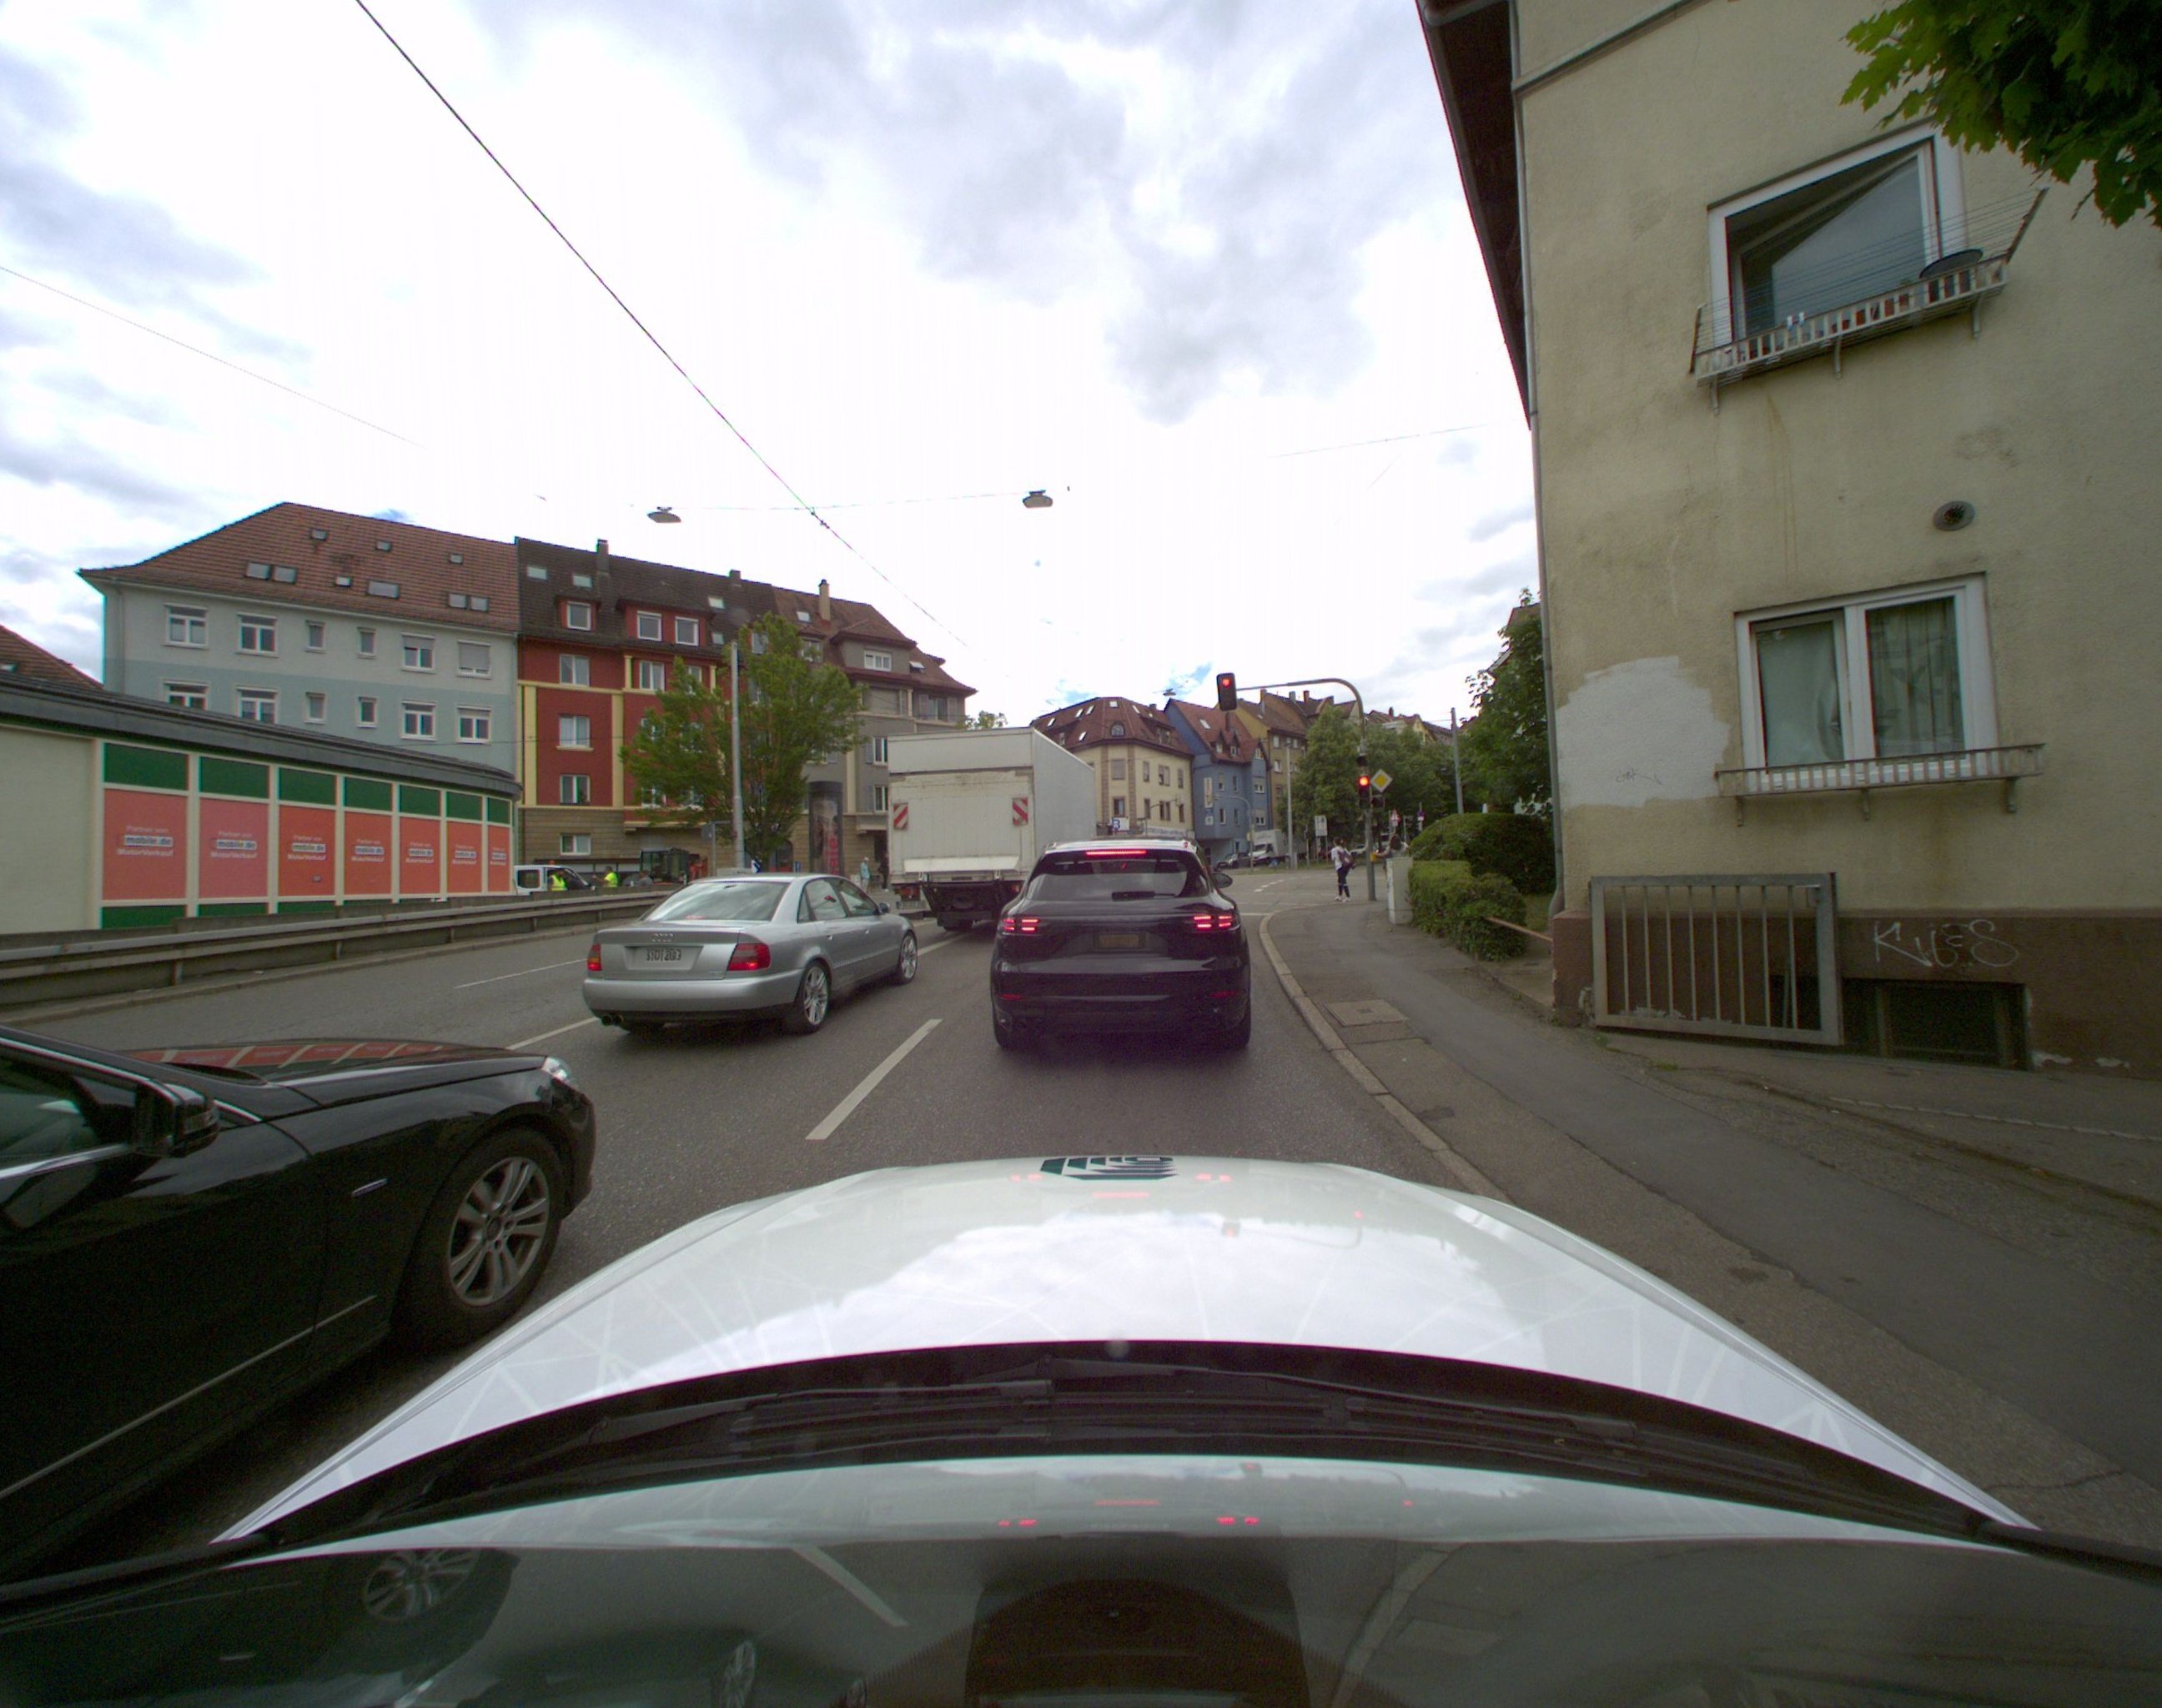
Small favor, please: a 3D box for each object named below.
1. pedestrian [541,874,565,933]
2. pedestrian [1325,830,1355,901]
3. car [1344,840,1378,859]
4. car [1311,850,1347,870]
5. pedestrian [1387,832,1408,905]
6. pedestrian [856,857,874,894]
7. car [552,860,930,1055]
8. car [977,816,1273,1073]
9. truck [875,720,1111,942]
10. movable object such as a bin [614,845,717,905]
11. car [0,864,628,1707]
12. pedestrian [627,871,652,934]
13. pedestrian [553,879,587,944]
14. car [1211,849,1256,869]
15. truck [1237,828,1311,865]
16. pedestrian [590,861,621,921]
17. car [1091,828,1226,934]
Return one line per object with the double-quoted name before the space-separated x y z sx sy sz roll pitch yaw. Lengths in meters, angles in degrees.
"pedestrian" -15.609 1.449 24.076 0.479 1.730 0.536 1 -1 -44
"pedestrian" 6.747 0.301 21.202 0.588 1.819 0.528 1 -1 -4
"car" 31.161 -0.472 90.641 1.975 2.014 4.023 0 -1 45
"car" 26.170 0.634 85.885 1.975 2.014 4.023 0 -1 45
"pedestrian" 8.025 0.368 20.680 0.459 1.837 0.325 0 -1 16
"pedestrian" -9.364 0.936 35.338 0.587 1.567 0.486 1 -1 1
"car" -2.971 0.801 8.239 1.687 1.373 4.185 -1 1 6
"car" 0.274 0.588 7.496 1.973 1.684 3.998 -1 0 -1
"truck" -1.325 -0.391 17.356 2.751 3.575 8.088 -1 0 10
"movable object such as a bin" -13.265 0.646 26.265 1.903 1.771 3.984 1 0 -11
"car" -2.766 0.771 1.050 1.741 1.454 4.447 -1 0 2
"pedestrian" -12.588 1.369 23.214 0.545 1.730 0.587 1 -1 -33
"pedestrian" -13.701 1.534 21.851 0.562 1.700 0.541 1 -1 -10
"car" 13.437 0.448 71.728 1.975 1.684 4.024 -2 -1 43
"truck" 18.601 -0.644 78.195 2.846 3.340 8.846 0 0 43
"pedestrian" -14.221 1.096 24.358 0.570 1.761 0.616 1 -1 -7
"car" 1.588 0.447 15.164 1.980 1.684 4.014 -1 0 12
